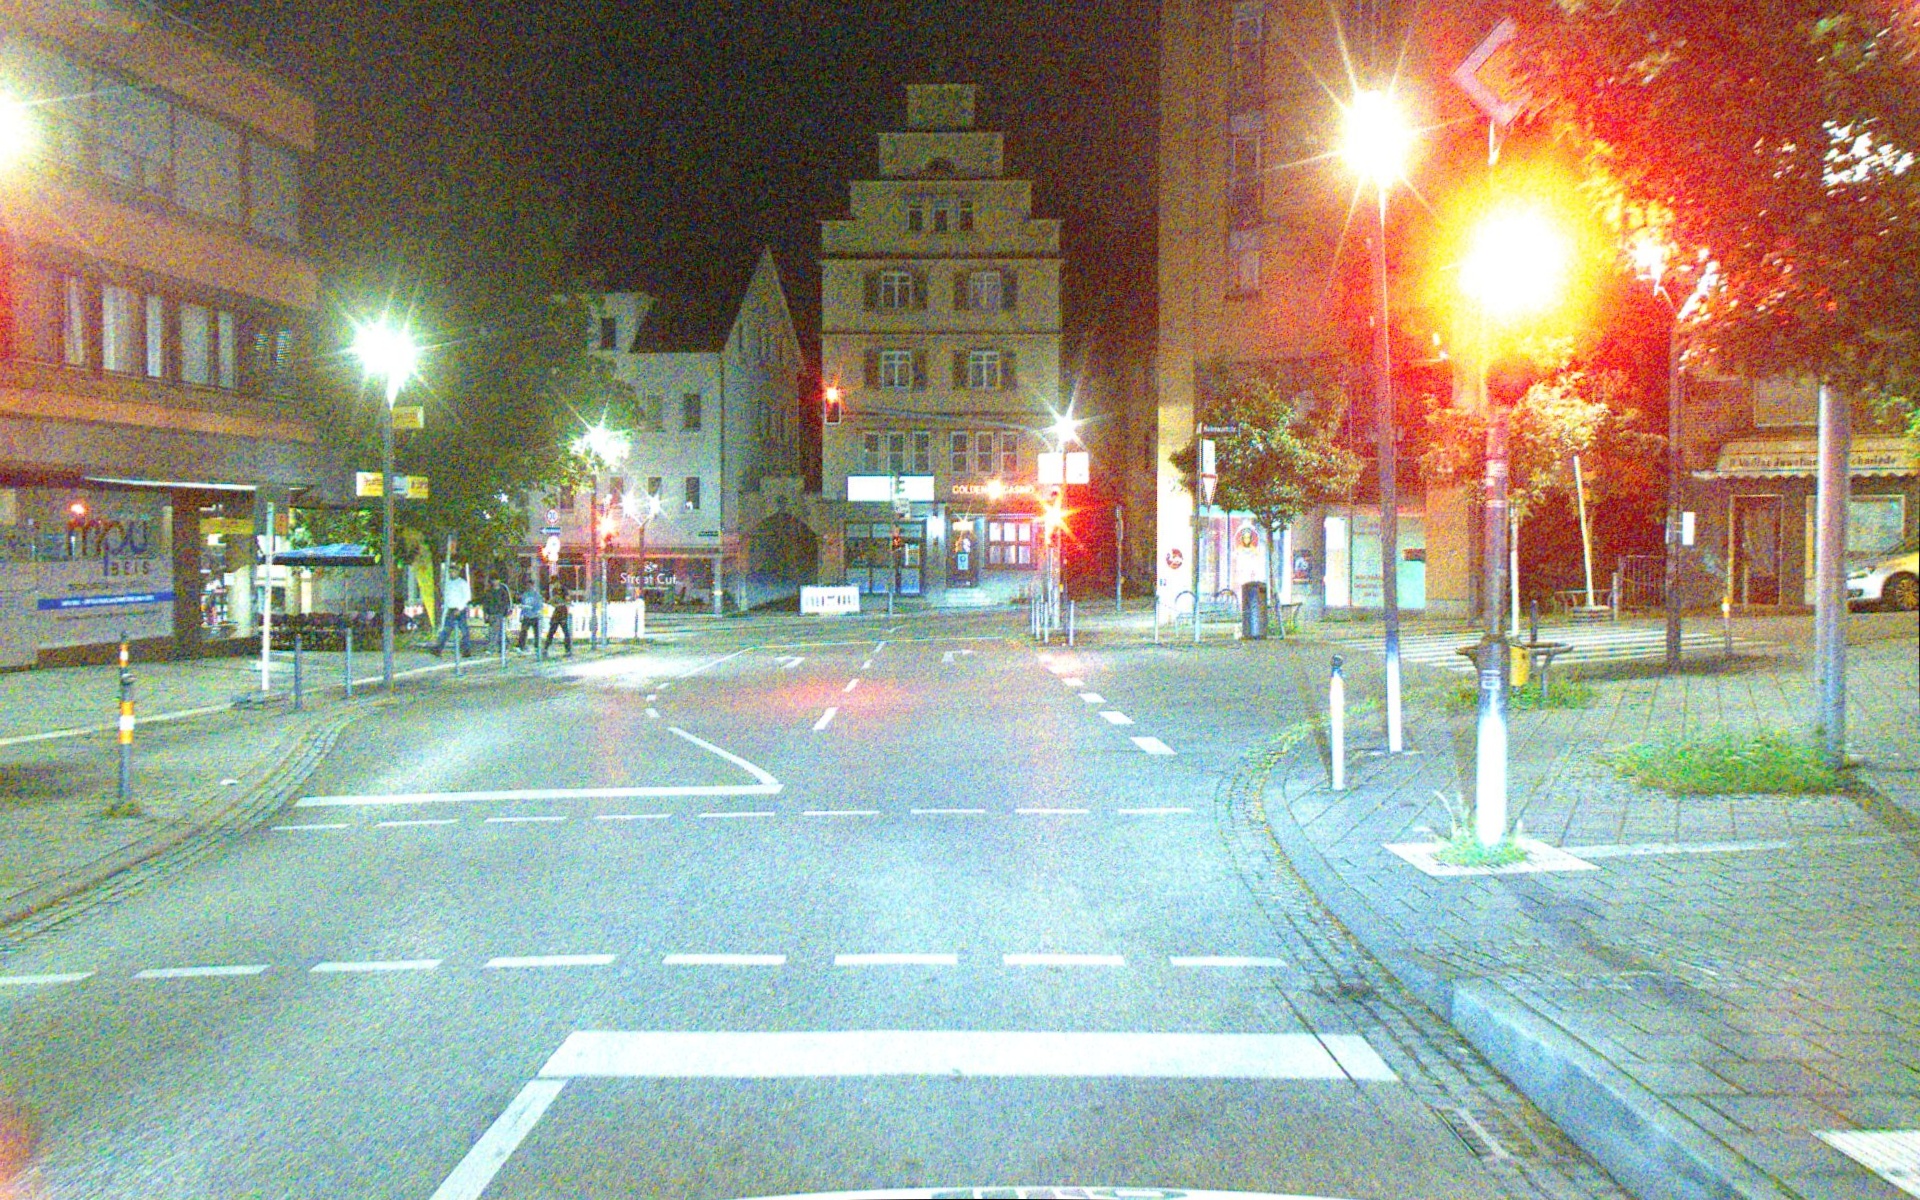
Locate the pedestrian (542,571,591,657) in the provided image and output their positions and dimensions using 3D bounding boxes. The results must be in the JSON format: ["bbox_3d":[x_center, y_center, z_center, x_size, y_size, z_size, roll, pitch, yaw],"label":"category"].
[{"bbox_3d":[-8.455,0.300,35.539,0.701,1.827,0.737,0,-1,19],"label":"pedestrian"}]

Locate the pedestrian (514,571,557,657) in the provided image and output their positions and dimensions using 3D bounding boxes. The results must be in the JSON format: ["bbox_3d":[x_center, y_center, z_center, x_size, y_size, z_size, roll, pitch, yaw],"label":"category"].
[{"bbox_3d":[-9.182,0.299,35.789,0.701,1.827,0.570,1,-1,6],"label":"pedestrian"}]

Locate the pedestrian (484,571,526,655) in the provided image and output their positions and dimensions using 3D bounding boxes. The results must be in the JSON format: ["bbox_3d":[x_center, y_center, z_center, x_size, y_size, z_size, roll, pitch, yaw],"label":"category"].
[{"bbox_3d":[-10.027,0.289,36.440,0.701,1.827,0.570,1,-1,6],"label":"pedestrian"}]

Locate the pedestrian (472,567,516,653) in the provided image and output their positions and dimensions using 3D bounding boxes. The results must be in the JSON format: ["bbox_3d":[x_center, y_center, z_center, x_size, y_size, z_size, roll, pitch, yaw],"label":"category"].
[{"bbox_3d":[-9.957,0.214,35.336,0.701,1.827,0.570,1,-1,6],"label":"pedestrian"}]

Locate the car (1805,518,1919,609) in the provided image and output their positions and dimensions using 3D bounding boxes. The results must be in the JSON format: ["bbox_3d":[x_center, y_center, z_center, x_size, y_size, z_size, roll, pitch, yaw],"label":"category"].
[{"bbox_3d":[17.135,-0.701,28.728,3.956,1.478,1.827,-3,1,6],"label":"car"}]

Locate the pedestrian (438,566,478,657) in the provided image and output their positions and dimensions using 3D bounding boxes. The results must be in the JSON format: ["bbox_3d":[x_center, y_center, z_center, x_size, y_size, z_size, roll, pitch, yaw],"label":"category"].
[{"bbox_3d":[-10.186,0.241,33.604,0.703,1.827,0.567,1,-1,-14],"label":"pedestrian"}]
